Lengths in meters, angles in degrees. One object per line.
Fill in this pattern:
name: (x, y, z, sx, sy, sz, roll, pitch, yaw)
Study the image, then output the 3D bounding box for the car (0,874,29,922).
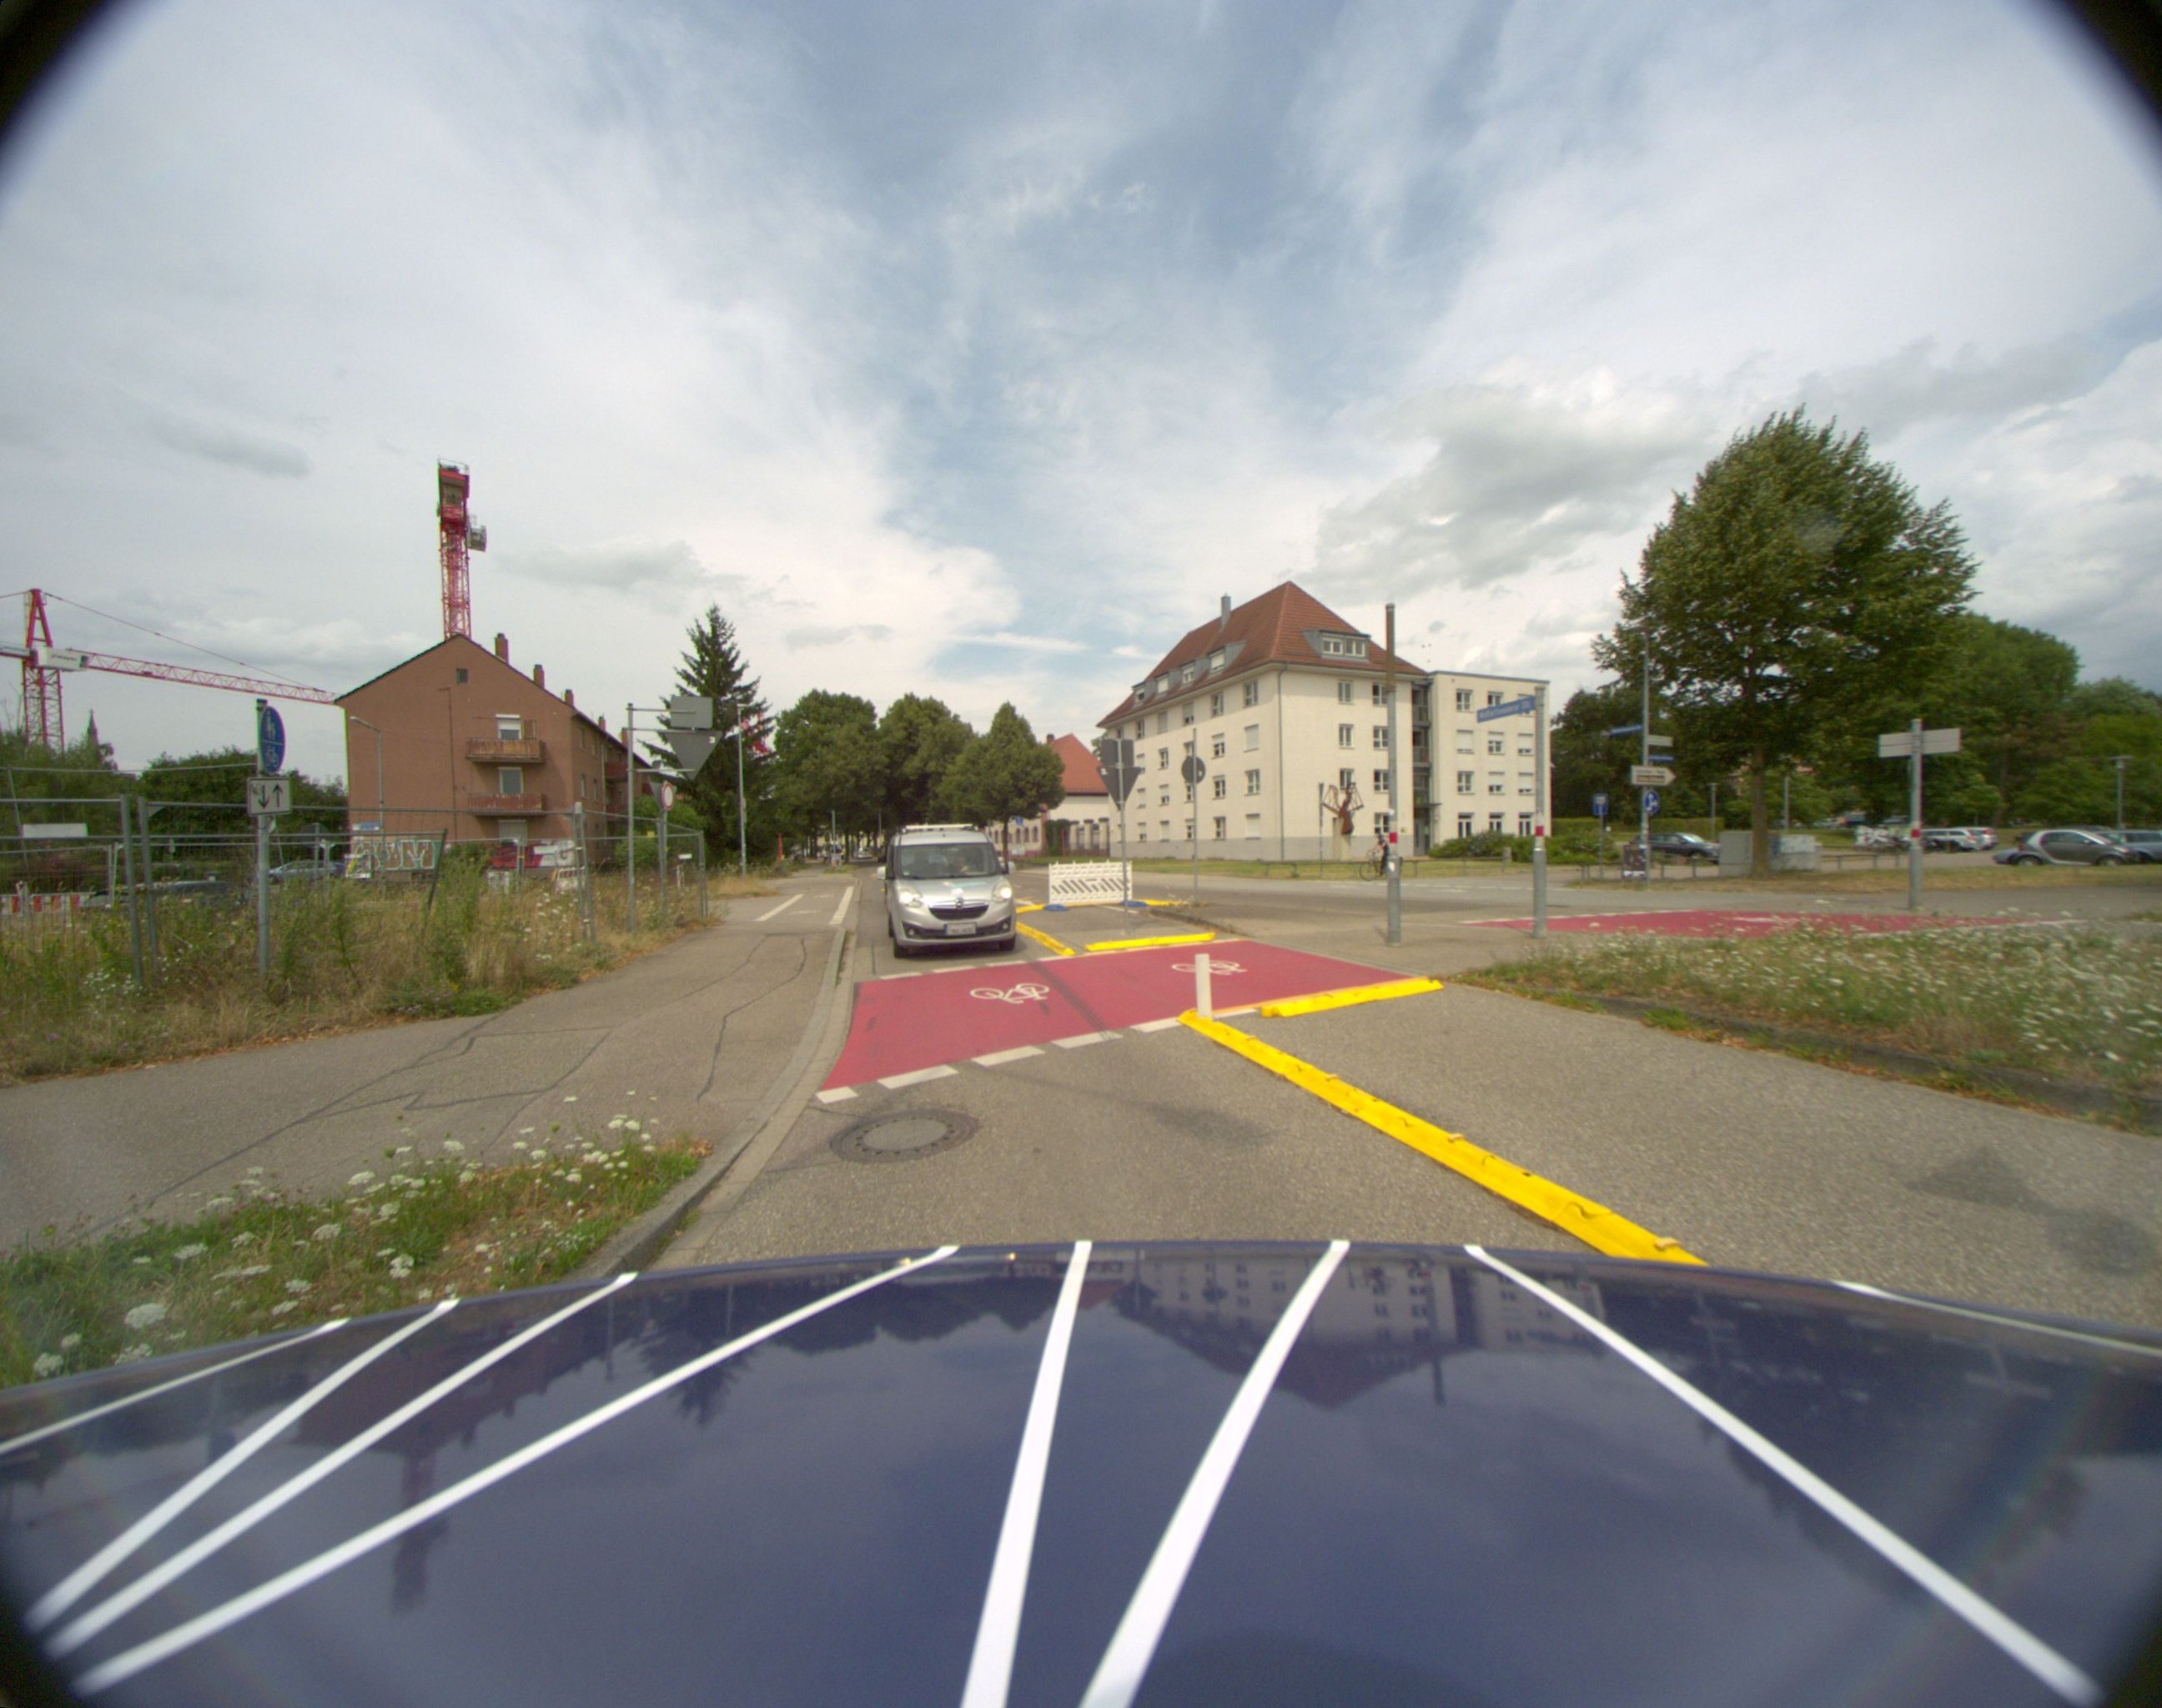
car: (-43.846, 1.775, 29.504, 3.994, 1.838, 1.803, -1, 1, 8)

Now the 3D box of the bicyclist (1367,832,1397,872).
bicyclist: (10.935, -0.064, 27.643, 0.804, 1.415, 0.601, -2, 1, -15)

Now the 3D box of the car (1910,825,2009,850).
car: (59.039, -1.066, 51.137, 1.820, 1.565, 3.999, -1, 1, -23)

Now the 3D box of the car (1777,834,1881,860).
car: (43.350, -0.410, 44.162, 1.617, 1.460, 3.999, -2, 1, -23)

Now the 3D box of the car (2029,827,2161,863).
car: (43.871, -0.389, 31.820, 1.835, 1.463, 4.879, -2, 1, -22)

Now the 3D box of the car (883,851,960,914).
car: (-4.520, 0.708, 21.147, 1.819, 1.495, 4.863, -2, 0, -14)

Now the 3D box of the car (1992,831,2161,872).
car: (39.261, -0.074, 29.448, 1.835, 1.462, 4.698, -2, -1, -25)

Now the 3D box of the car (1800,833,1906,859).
car: (45.408, -0.469, 44.771, 1.819, 1.459, 3.999, -2, 1, -23)

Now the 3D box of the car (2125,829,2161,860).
car: (52.865, -0.468, 35.560, 1.835, 1.463, 4.379, -2, 1, -22)

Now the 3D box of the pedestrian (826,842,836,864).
pedestrian: (-24.038, -0.102, 73.016, 0.856, 2.002, 0.731, -2, 1, -14)

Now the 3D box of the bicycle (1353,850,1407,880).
bicycle: (10.873, 0.401, 27.629, 1.830, 1.040, 0.601, -2, 1, -15)

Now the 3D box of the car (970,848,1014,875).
car: (-5.447, 0.442, 45.983, 1.630, 1.510, 4.211, -2, 1, -20)

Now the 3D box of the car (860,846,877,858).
car: (-29.132, -0.237, 104.129, 1.803, 1.613, 4.739, -2, 1, -20)

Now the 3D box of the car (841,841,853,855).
car: (-45.910, -1.189, 149.105, 2.072, 2.670, 5.961, -2, 1, -17)

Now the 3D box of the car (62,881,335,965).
car: (-20.283, 1.494, 17.810, 1.767, 1.465, 4.255, -2, 1, -9)

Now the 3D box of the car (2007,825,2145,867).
car: (36.971, -0.258, 28.297, 1.486, 1.414, 2.910, -1, -1, -29)

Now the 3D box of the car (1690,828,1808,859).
car: (36.014, -0.563, 41.121, 2.002, 1.588, 4.399, -2, 1, -21)

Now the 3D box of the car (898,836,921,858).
car: (-18.504, -0.715, 81.824, 2.001, 2.260, 5.152, -2, 1, -17)

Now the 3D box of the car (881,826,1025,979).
car: (-2.249, 0.593, 12.230, 1.812, 1.936, 4.577, -2, 1, -15)

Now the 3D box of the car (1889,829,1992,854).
car: (54.968, -0.800, 48.695, 1.819, 1.460, 3.999, -2, 1, -23)

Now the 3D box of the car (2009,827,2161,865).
car: (41.697, -0.338, 30.785, 1.835, 1.463, 4.879, -2, 1, -22)

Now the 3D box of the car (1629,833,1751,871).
car: (31.008, -0.131, 38.850, 2.002, 1.754, 4.491, -2, 1, -23)

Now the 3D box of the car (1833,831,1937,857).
car: (48.950, -0.595, 46.369, 1.819, 1.460, 3.999, -2, 1, -23)
